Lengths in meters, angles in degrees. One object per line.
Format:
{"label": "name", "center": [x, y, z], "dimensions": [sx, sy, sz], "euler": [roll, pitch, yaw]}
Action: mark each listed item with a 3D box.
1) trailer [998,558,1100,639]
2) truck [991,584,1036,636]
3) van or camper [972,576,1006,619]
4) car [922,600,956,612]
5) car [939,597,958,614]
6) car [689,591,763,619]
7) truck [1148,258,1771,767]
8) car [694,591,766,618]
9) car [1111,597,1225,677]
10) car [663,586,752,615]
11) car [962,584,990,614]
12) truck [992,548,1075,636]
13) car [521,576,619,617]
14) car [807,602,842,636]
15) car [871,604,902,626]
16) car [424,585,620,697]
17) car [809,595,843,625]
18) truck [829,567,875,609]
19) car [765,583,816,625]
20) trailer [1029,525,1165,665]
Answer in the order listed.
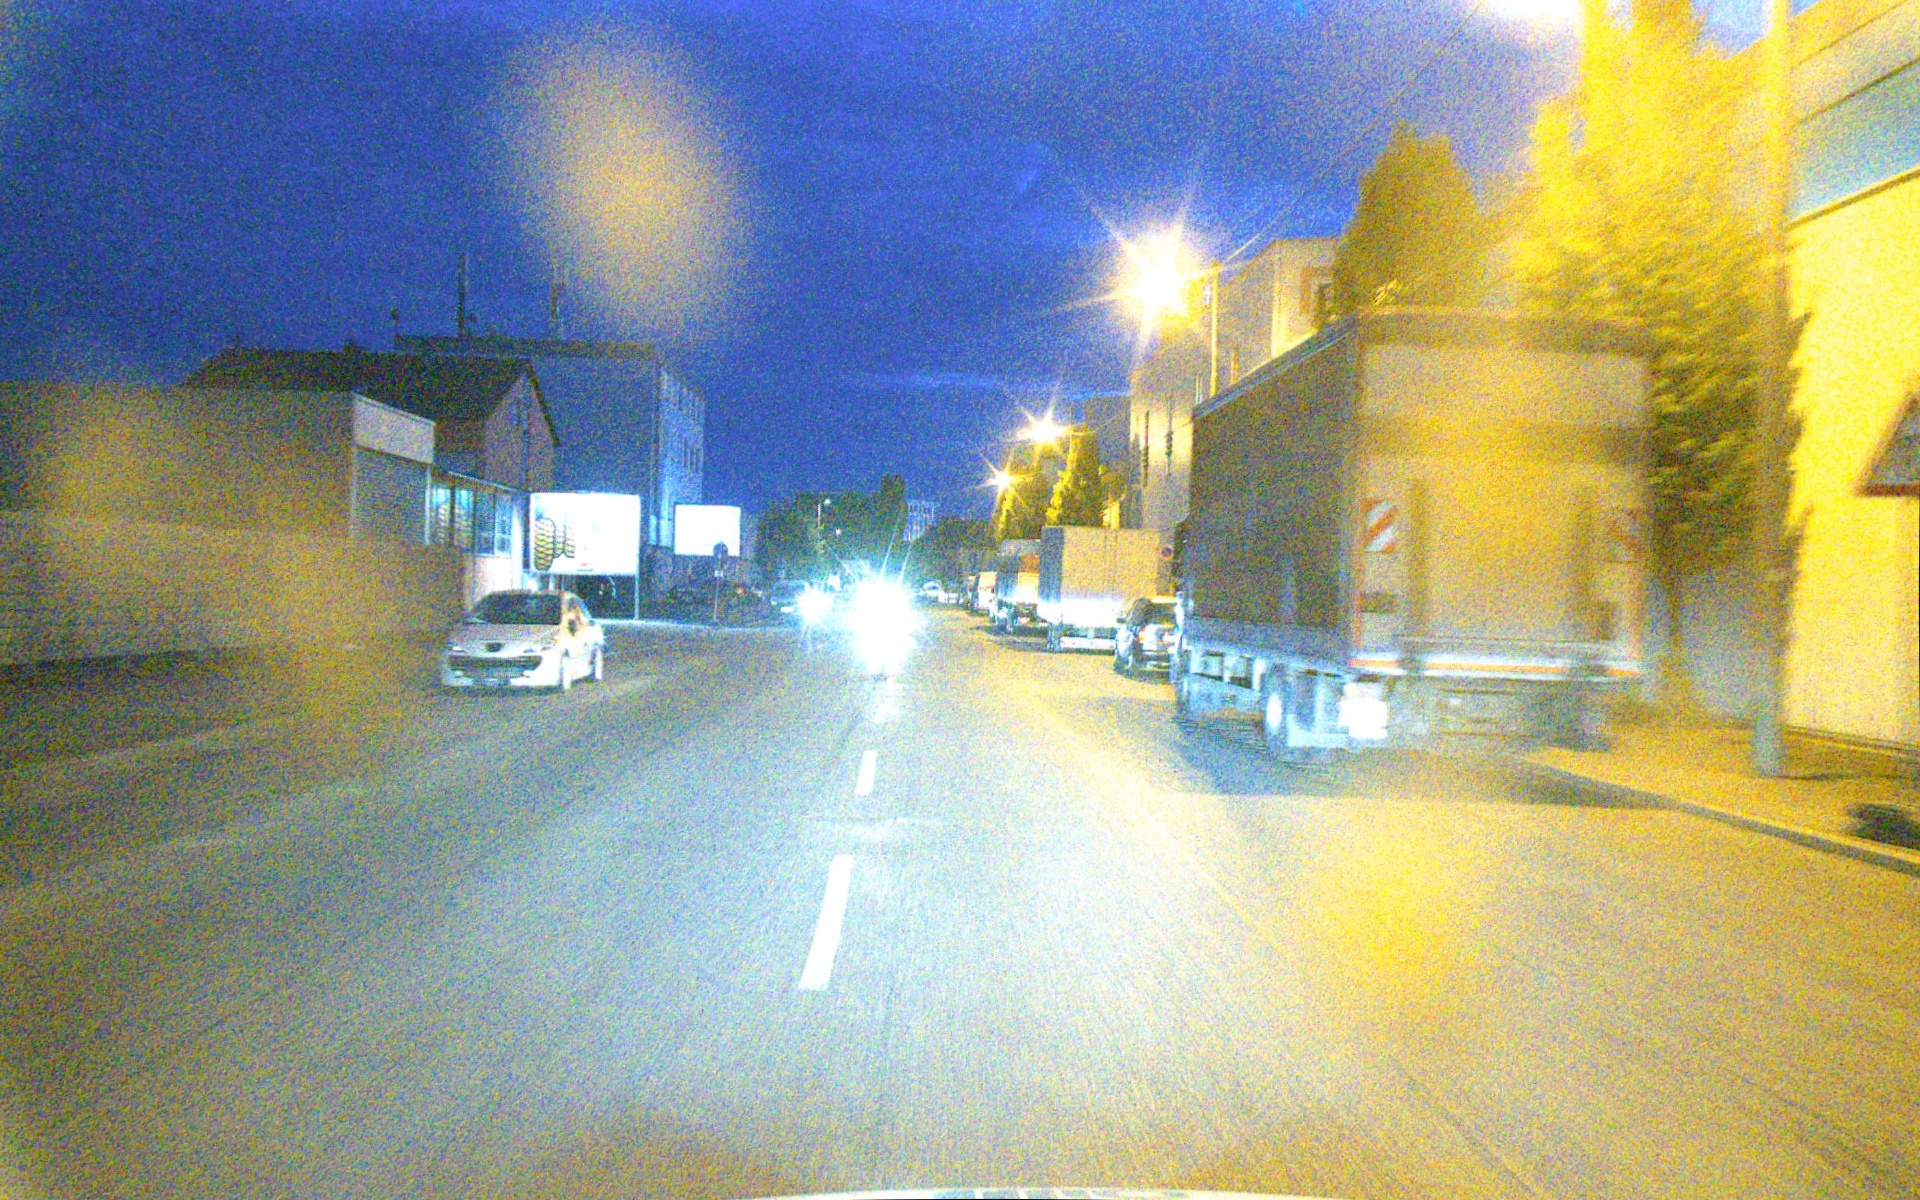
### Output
{"label": "trailer", "center": [3.214, 0.012, 62.871], "dimensions": [3.120, 2.797, 10.712], "euler": [0, -1, -1]}
{"label": "truck", "center": [2.621, 0.488, 82.192], "dimensions": [1.953, 2.450, 5.291], "euler": [1, 0, -1]}
{"label": "van or camper", "center": [1.769, -0.150, 103.913], "dimensions": [1.953, 2.627, 4.914], "euler": [1, 0, 0]}
{"label": "car", "center": [-2.753, 0.805, 219.098], "dimensions": [4.437, 1.404, 2.000], "euler": [2, -1, 2]}
{"label": "car", "center": [-1.244, 0.551, 174.600], "dimensions": [1.953, 1.713, 3.999], "euler": [1, 0, -1]}
{"label": "car", "center": [-13.901, 0.284, 98.238], "dimensions": [3.941, 1.623, 1.982], "euler": [0, -1, -28]}
{"label": "truck", "center": [4.600, -0.650, 18.412], "dimensions": [3.450, 4.053, 10.336], "euler": [0, -1, -2]}
{"label": "car", "center": [-14.073, 0.317, 101.193], "dimensions": [3.941, 1.623, 1.982], "euler": [0, -1, -28]}
{"label": "car", "center": [4.172, 0.728, 33.716], "dimensions": [1.815, 1.546, 3.817], "euler": [0, -1, -1]}
{"label": "car", "center": [-14.166, 0.014, 92.842], "dimensions": [4.552, 1.511, 1.985], "euler": [2, 0, -24]}
{"label": "car", "center": [1.166, -0.052, 124.298], "dimensions": [1.953, 2.183, 3.999], "euler": [1, 0, -1]}
{"label": "truck", "center": [3.031, -0.283, 70.040], "dimensions": [3.087, 3.524, 6.671], "euler": [0, -1, -1]}
{"label": "car", "center": [-17.266, -0.157, 73.433], "dimensions": [3.908, 1.680, 1.998], "euler": [1, 0, -4]}
{"label": "car", "center": [-7.175, 0.985, 87.784], "dimensions": [1.645, 1.766, 4.353], "euler": [1, 0, -3]}
{"label": "car", "center": [-4.966, 0.998, 112.066], "dimensions": [1.953, 1.422, 3.999], "euler": [1, 0, -1]}
{"label": "car", "center": [-6.229, 0.547, 23.957], "dimensions": [1.804, 1.445, 3.999], "euler": [1, 0, -1]}
{"label": "car", "center": [-8.251, 0.628, 102.193], "dimensions": [1.859, 1.766, 4.354], "euler": [1, 0, -2]}
{"label": "truck", "center": [-10.120, -1.114, 153.578], "dimensions": [3.816, 3.685, 8.248], "euler": [1, 0, -6]}
{"label": "car", "center": [-7.809, 0.176, 76.528], "dimensions": [1.953, 1.825, 3.999], "euler": [1, 0, -1]}
{"label": "trailer", "center": [3.694, -0.102, 46.587], "dimensions": [2.633, 3.525, 7.803], "euler": [2, -1, -4]}
